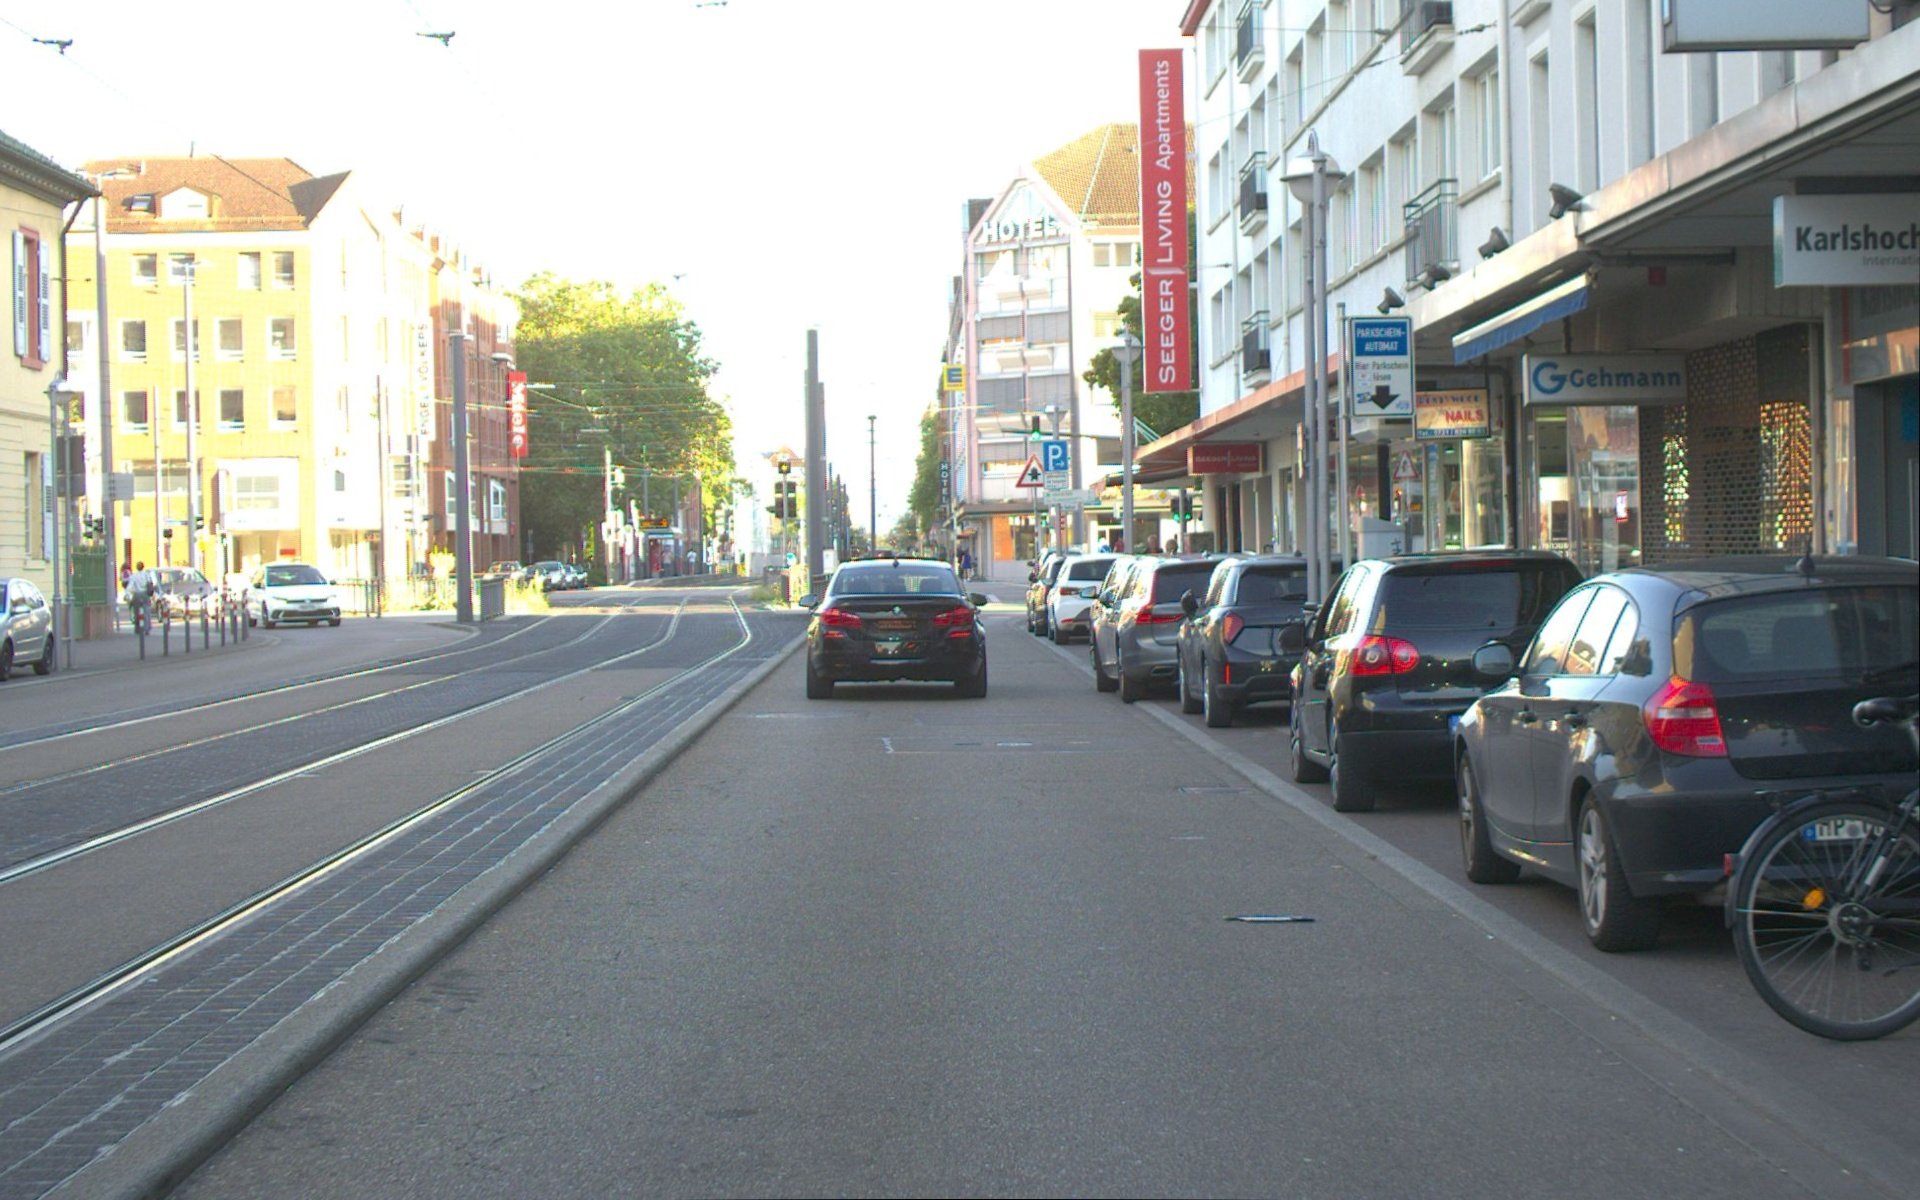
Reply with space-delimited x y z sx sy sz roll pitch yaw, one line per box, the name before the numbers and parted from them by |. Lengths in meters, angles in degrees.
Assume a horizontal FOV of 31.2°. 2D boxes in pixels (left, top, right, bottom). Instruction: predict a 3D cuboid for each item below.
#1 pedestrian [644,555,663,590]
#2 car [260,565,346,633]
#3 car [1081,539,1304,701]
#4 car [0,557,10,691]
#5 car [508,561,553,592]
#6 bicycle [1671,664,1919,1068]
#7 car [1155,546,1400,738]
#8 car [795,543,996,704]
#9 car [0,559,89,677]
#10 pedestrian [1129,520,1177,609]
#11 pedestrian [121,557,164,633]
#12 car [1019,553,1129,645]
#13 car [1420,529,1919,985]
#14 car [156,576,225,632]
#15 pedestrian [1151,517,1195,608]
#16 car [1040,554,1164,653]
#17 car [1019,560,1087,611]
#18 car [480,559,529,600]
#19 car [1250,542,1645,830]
pedestrian | -17.481 -1.558 195.989 0.988 2.007 0.726 1 0 -2
car | -15.443 -0.038 80.703 1.806 1.507 4.036 -1 1 -13
car | 2.351 0.166 35.926 1.790 1.507 4.712 -2 1 -2
car | -13.681 0.310 43.604 1.812 1.779 4.497 2 0 2
car | -22.318 -1.237 178.827 1.993 1.579 4.587 -1 1 -3
bicycle | 3.184 0.769 10.405 1.885 1.134 0.676 -1 1 -3
car | 2.718 0.317 30.220 1.685 1.507 4.035 -2 1 0
car | -0.684 0.204 36.756 1.993 1.579 4.000 -1 1 -1
car | -14.063 0.239 49.625 1.812 1.612 4.215 -1 1 1
pedestrian | 3.813 -0.694 67.826 0.827 1.712 0.843 -2 1 0
pedestrian | -17.379 -0.115 73.096 0.731 1.579 0.955 -1 1 -5
car | 2.010 -0.053 61.756 1.735 1.507 4.686 -2 1 0
car | 3.065 0.501 13.909 1.744 1.507 4.258 -2 1 0
car | -22.064 0.095 98.644 1.735 1.507 4.036 -1 1 -10
pedestrian | 4.124 -0.725 66.718 0.728 1.735 0.863 -2 1 0
car | 2.303 0.030 56.565 1.785 1.507 4.052 -2 1 0
car | 2.936 -0.473 109.119 1.993 1.546 4.000 -1 1 -1
car | -22.212 -1.012 167.920 1.993 1.895 4.812 -1 1 -3
car | 2.846 0.440 20.896 1.720 1.507 4.167 -2 1 0
